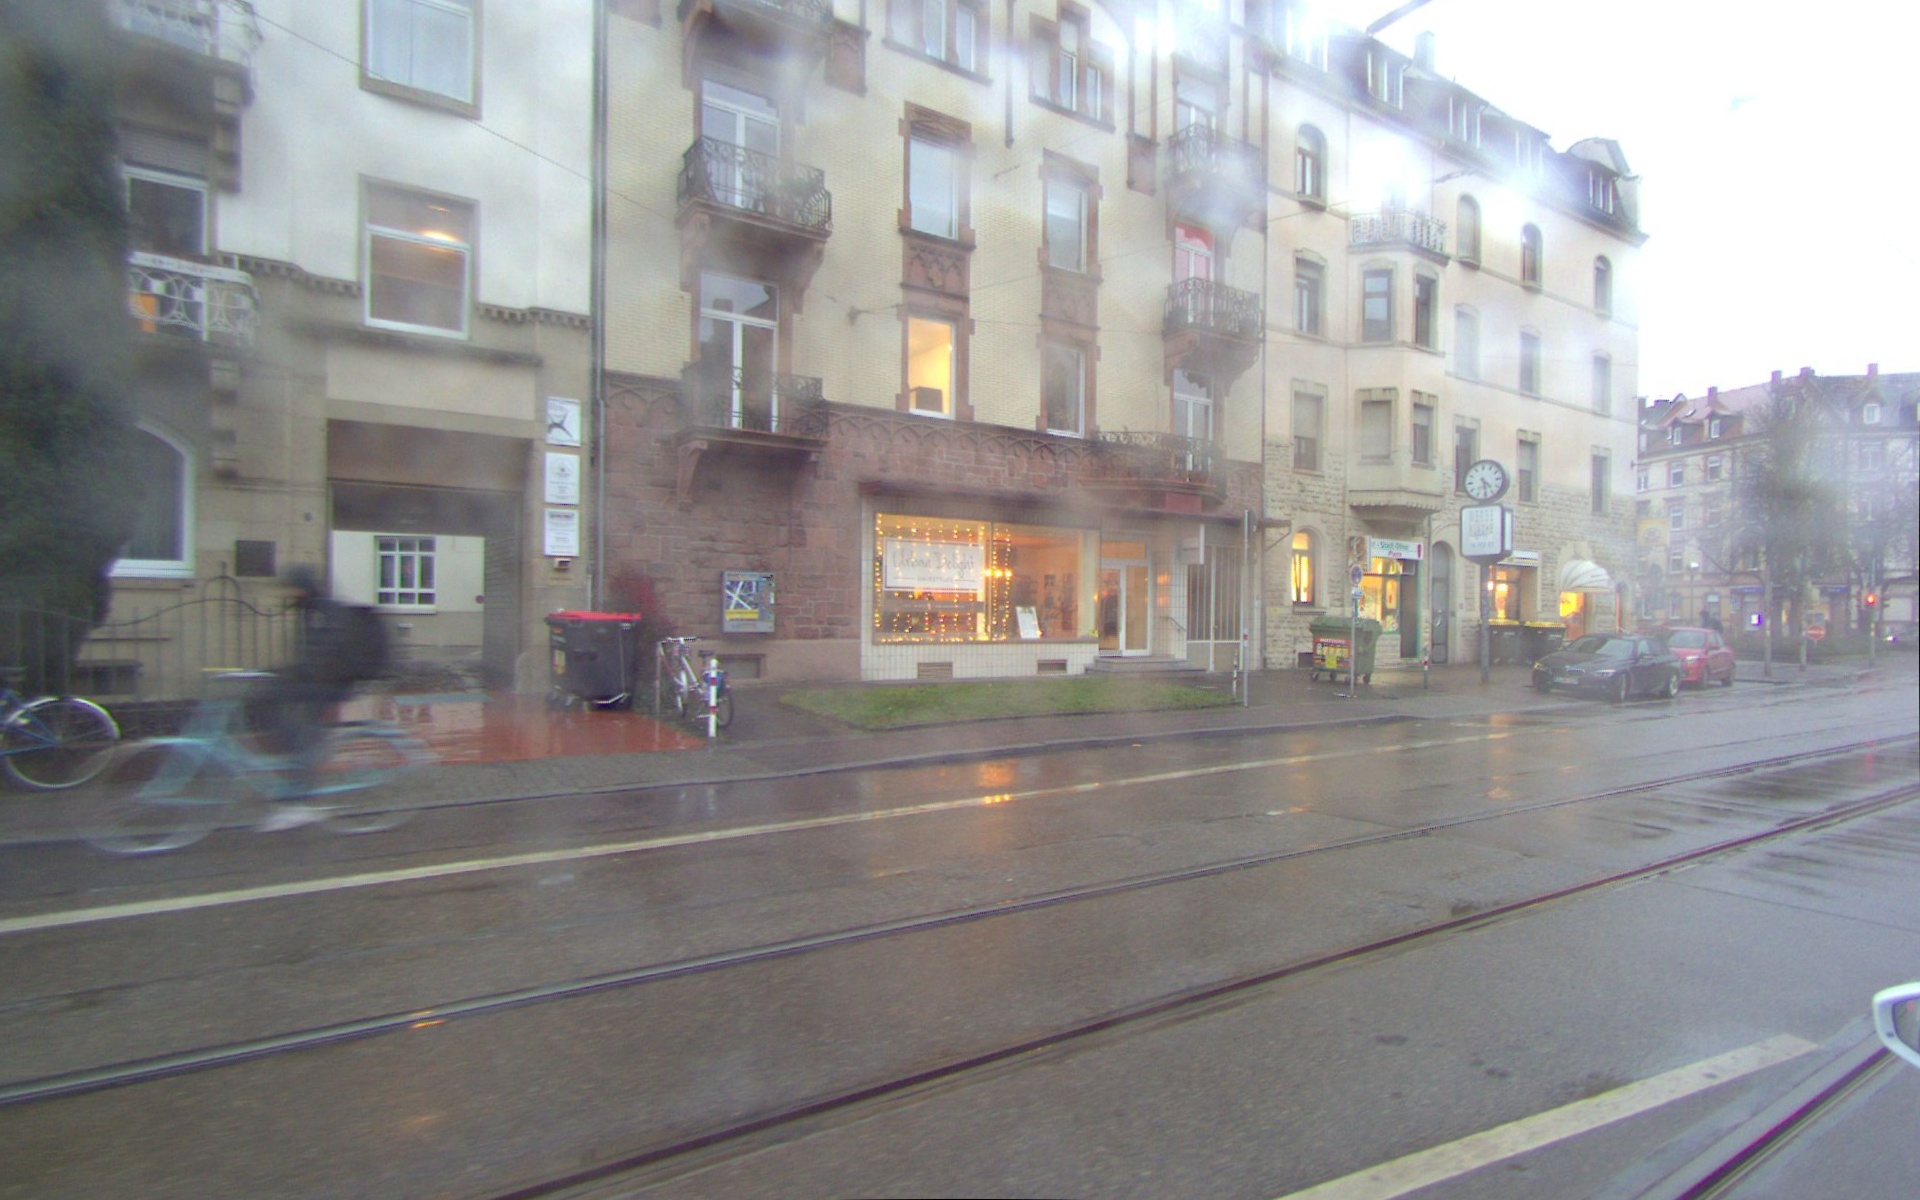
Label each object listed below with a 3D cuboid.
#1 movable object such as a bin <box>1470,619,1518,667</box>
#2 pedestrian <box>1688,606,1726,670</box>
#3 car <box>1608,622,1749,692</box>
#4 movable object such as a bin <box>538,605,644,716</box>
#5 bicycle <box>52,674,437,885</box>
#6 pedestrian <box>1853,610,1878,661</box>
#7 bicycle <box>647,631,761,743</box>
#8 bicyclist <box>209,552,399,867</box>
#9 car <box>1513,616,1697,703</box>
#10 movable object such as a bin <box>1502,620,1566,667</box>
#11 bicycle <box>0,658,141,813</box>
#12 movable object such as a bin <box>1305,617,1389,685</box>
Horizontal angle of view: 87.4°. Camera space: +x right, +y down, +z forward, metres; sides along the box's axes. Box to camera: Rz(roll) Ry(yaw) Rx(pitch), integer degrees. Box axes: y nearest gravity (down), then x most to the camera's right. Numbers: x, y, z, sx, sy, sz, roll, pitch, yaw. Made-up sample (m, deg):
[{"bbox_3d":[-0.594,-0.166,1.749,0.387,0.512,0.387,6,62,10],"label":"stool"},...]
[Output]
[{"bbox_3d":[16.150,1.292,30.377,0.996,1.396,0.894,1,0,-33],"label":"movable object such as a bin"},{"bbox_3d":[24.355,1.216,32.747,0.635,2.040,0.758,1,0,3],"label":"pedestrian"},{"bbox_3d":[19.454,1.463,27.149,3.996,1.573,2.021,0,3,-38],"label":"car"},{"bbox_3d":[-5.067,0.798,13.778,1.154,1.398,1.096,1,2,-32],"label":"movable object such as a bin"},{"bbox_3d":[-4.468,1.073,6.454,1.925,1.107,0.620,1,-1,-32],"label":"bicycle"},{"bbox_3d":[36.822,1.447,40.853,0.695,2.040,0.658,0,0,38],"label":"pedestrian"},{"bbox_3d":[-3.199,1.005,12.372,0.687,1.120,2.336,1,1,-31],"label":"bicycle"},{"bbox_3d":[-4.257,0.668,6.581,0.980,1.901,0.620,1,-1,-31],"label":"bicyclist"},{"bbox_3d":[15.041,1.338,23.349,4.586,1.667,1.972,2,3,-36],"label":"car"},{"bbox_3d":[17.486,1.304,30.595,1.239,1.385,1.286,1,0,-33],"label":"movable object such as a bin"},{"bbox_3d":[-7.336,1.016,7.623,1.643,1.107,0.620,1,-1,-32],"label":"bicycle"},{"bbox_3d":[8.607,1.110,22.384,1.236,1.439,1.260,1,0,-32],"label":"movable object such as a bin"}]
